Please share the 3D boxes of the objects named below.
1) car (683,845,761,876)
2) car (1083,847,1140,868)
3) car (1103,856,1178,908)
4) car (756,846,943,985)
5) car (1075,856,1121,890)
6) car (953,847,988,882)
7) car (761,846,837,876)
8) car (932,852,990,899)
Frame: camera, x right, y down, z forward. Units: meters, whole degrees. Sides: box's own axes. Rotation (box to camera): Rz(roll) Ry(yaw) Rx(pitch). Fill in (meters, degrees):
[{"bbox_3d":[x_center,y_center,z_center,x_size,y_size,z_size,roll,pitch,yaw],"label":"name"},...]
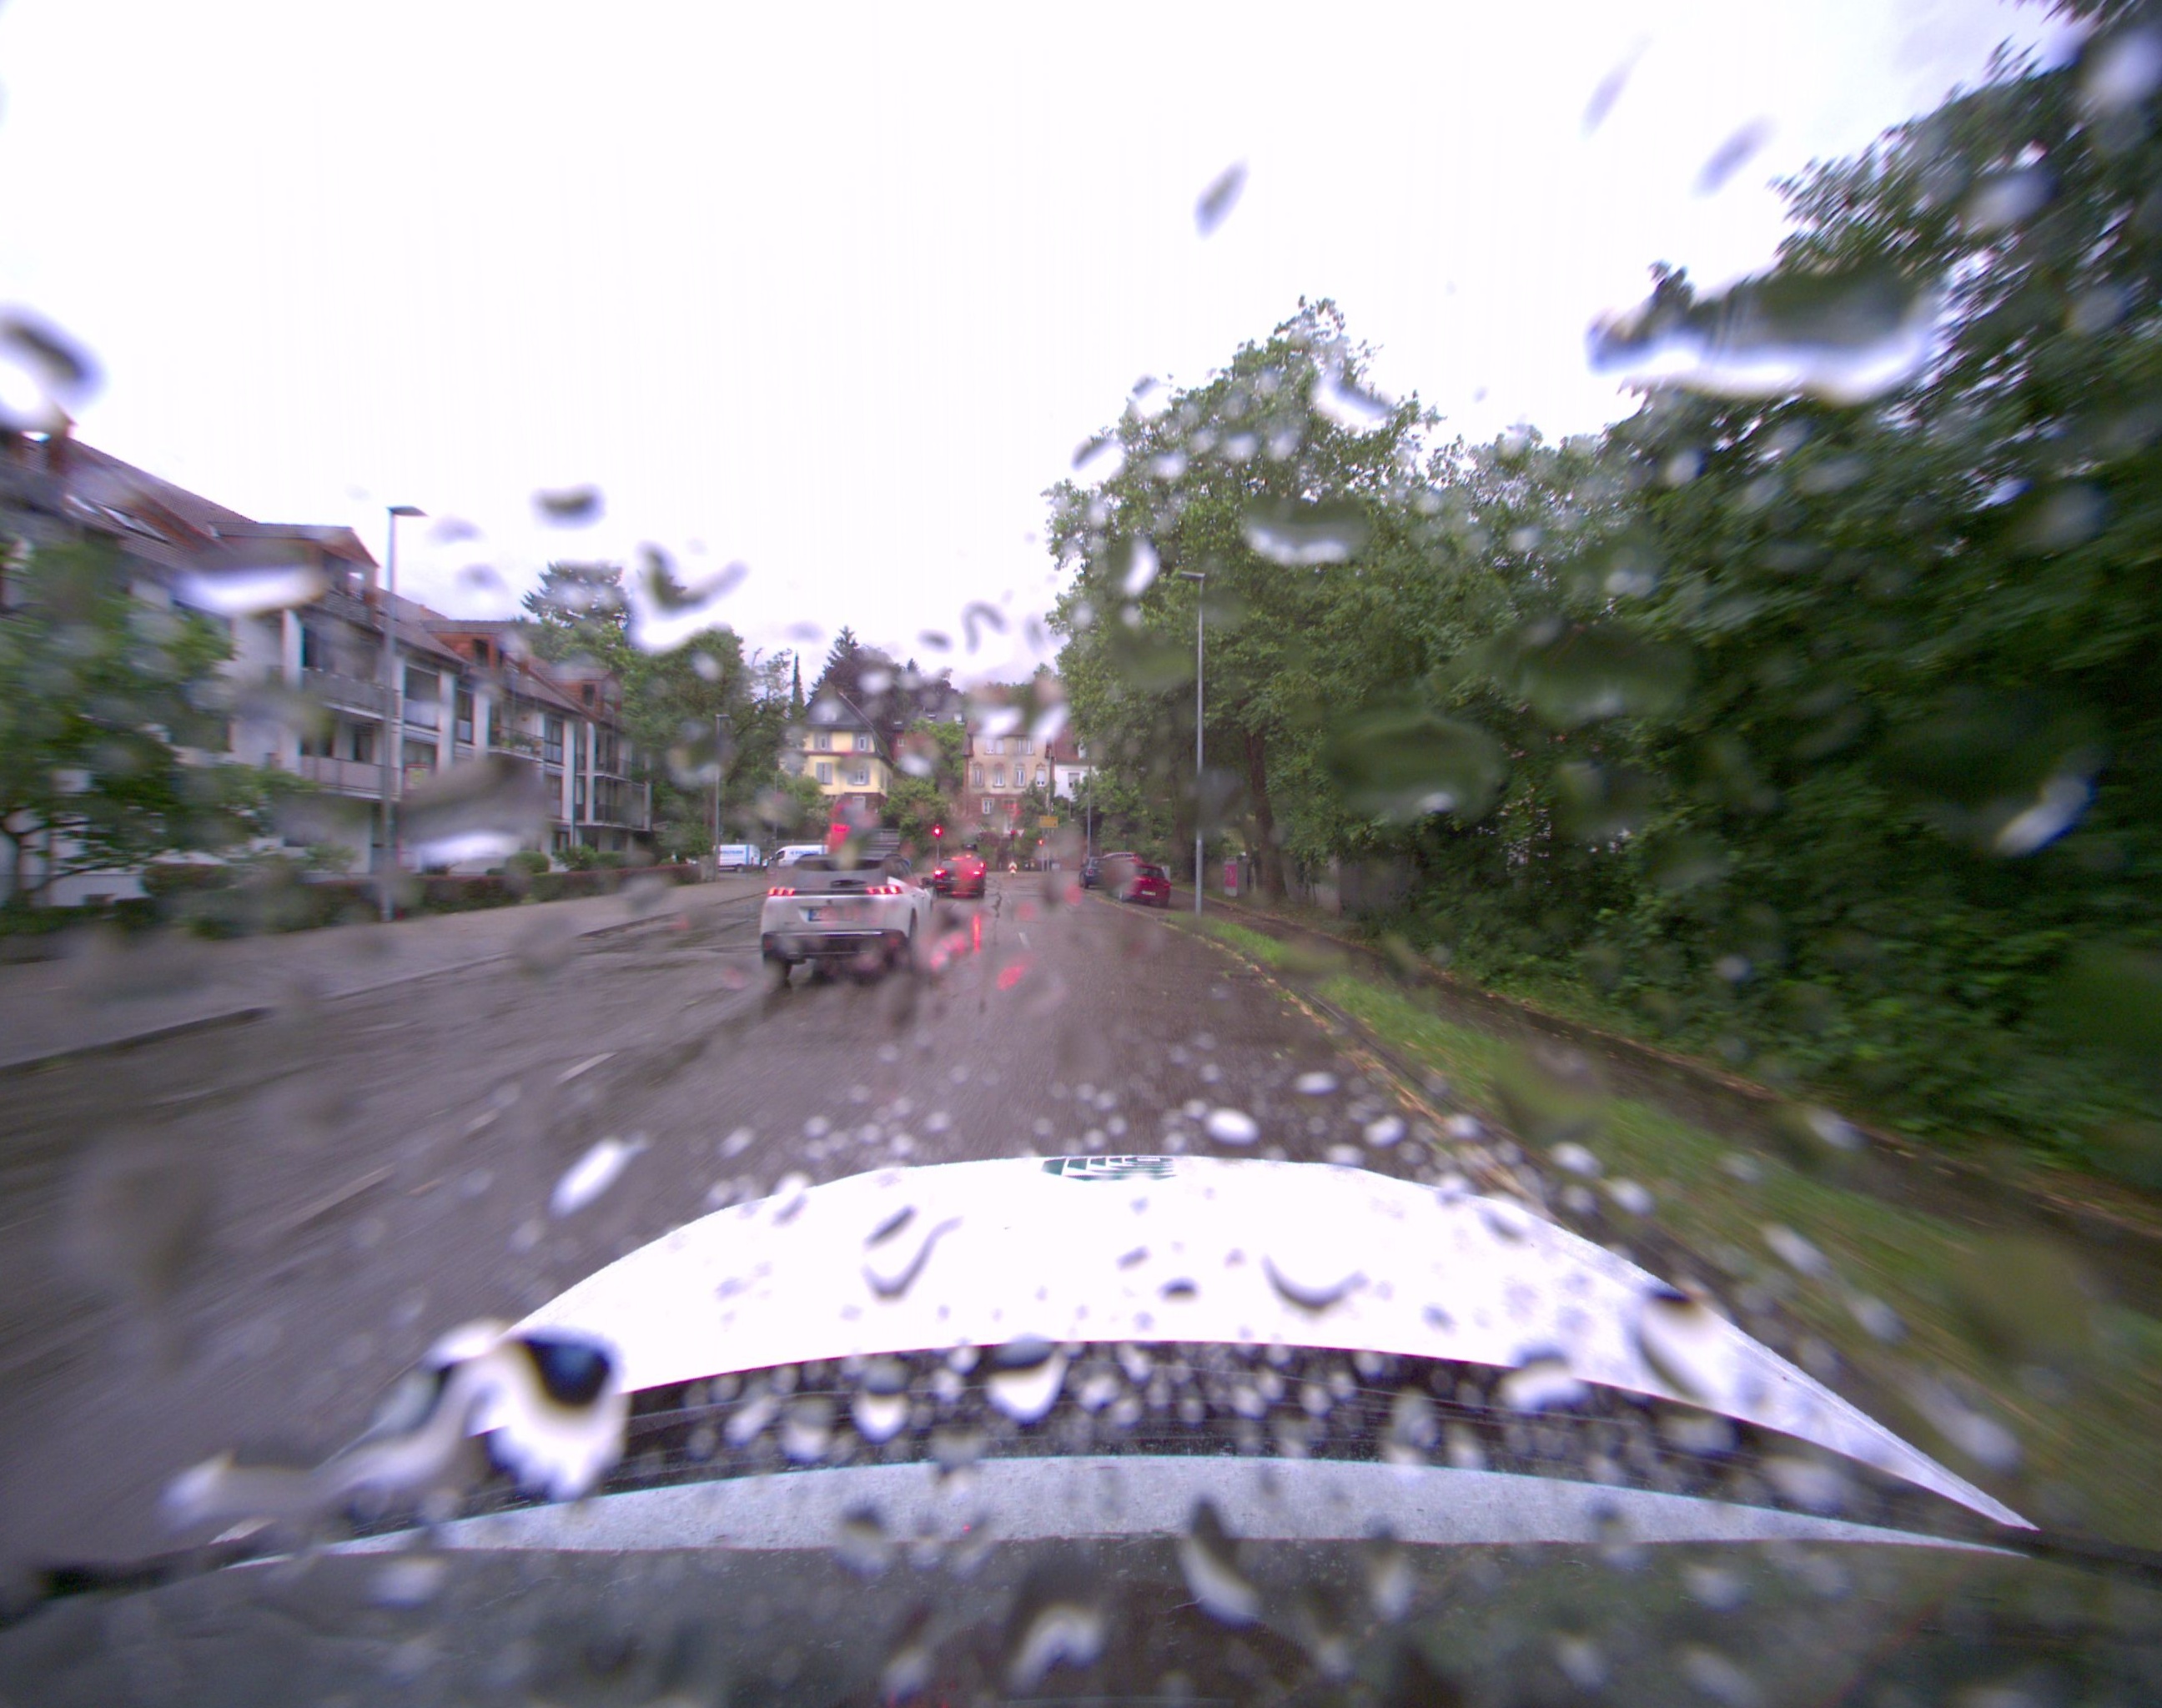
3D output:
[{"bbox_3d":[-30.373,0.560,69.045,5.553,2.494,2.312,1,-2,-5],"label":"car"},{"bbox_3d":[2.508,0.266,67.959,4.560,1.601,1.771,-1,-1,-5],"label":"car"},{"bbox_3d":[2.121,0.981,30.072,1.818,1.517,3.733,7,1,-8],"label":"car"},{"bbox_3d":[-2.990,0.692,11.417,1.750,1.536,4.358,-1,0,-6],"label":"car"},{"bbox_3d":[0.786,0.887,39.478,1.747,1.492,3.592,3,-1,-6],"label":"car"},{"bbox_3d":[-5.901,0.510,43.693,1.759,1.711,4.589,1,1,-7],"label":"car"},{"bbox_3d":[-24.019,0.605,69.493,5.651,2.494,2.312,1,-2,-5],"label":"car"},{"bbox_3d":[-4.356,0.729,30.194,1.829,1.456,4.649,2,1,-6],"label":"car"}]
